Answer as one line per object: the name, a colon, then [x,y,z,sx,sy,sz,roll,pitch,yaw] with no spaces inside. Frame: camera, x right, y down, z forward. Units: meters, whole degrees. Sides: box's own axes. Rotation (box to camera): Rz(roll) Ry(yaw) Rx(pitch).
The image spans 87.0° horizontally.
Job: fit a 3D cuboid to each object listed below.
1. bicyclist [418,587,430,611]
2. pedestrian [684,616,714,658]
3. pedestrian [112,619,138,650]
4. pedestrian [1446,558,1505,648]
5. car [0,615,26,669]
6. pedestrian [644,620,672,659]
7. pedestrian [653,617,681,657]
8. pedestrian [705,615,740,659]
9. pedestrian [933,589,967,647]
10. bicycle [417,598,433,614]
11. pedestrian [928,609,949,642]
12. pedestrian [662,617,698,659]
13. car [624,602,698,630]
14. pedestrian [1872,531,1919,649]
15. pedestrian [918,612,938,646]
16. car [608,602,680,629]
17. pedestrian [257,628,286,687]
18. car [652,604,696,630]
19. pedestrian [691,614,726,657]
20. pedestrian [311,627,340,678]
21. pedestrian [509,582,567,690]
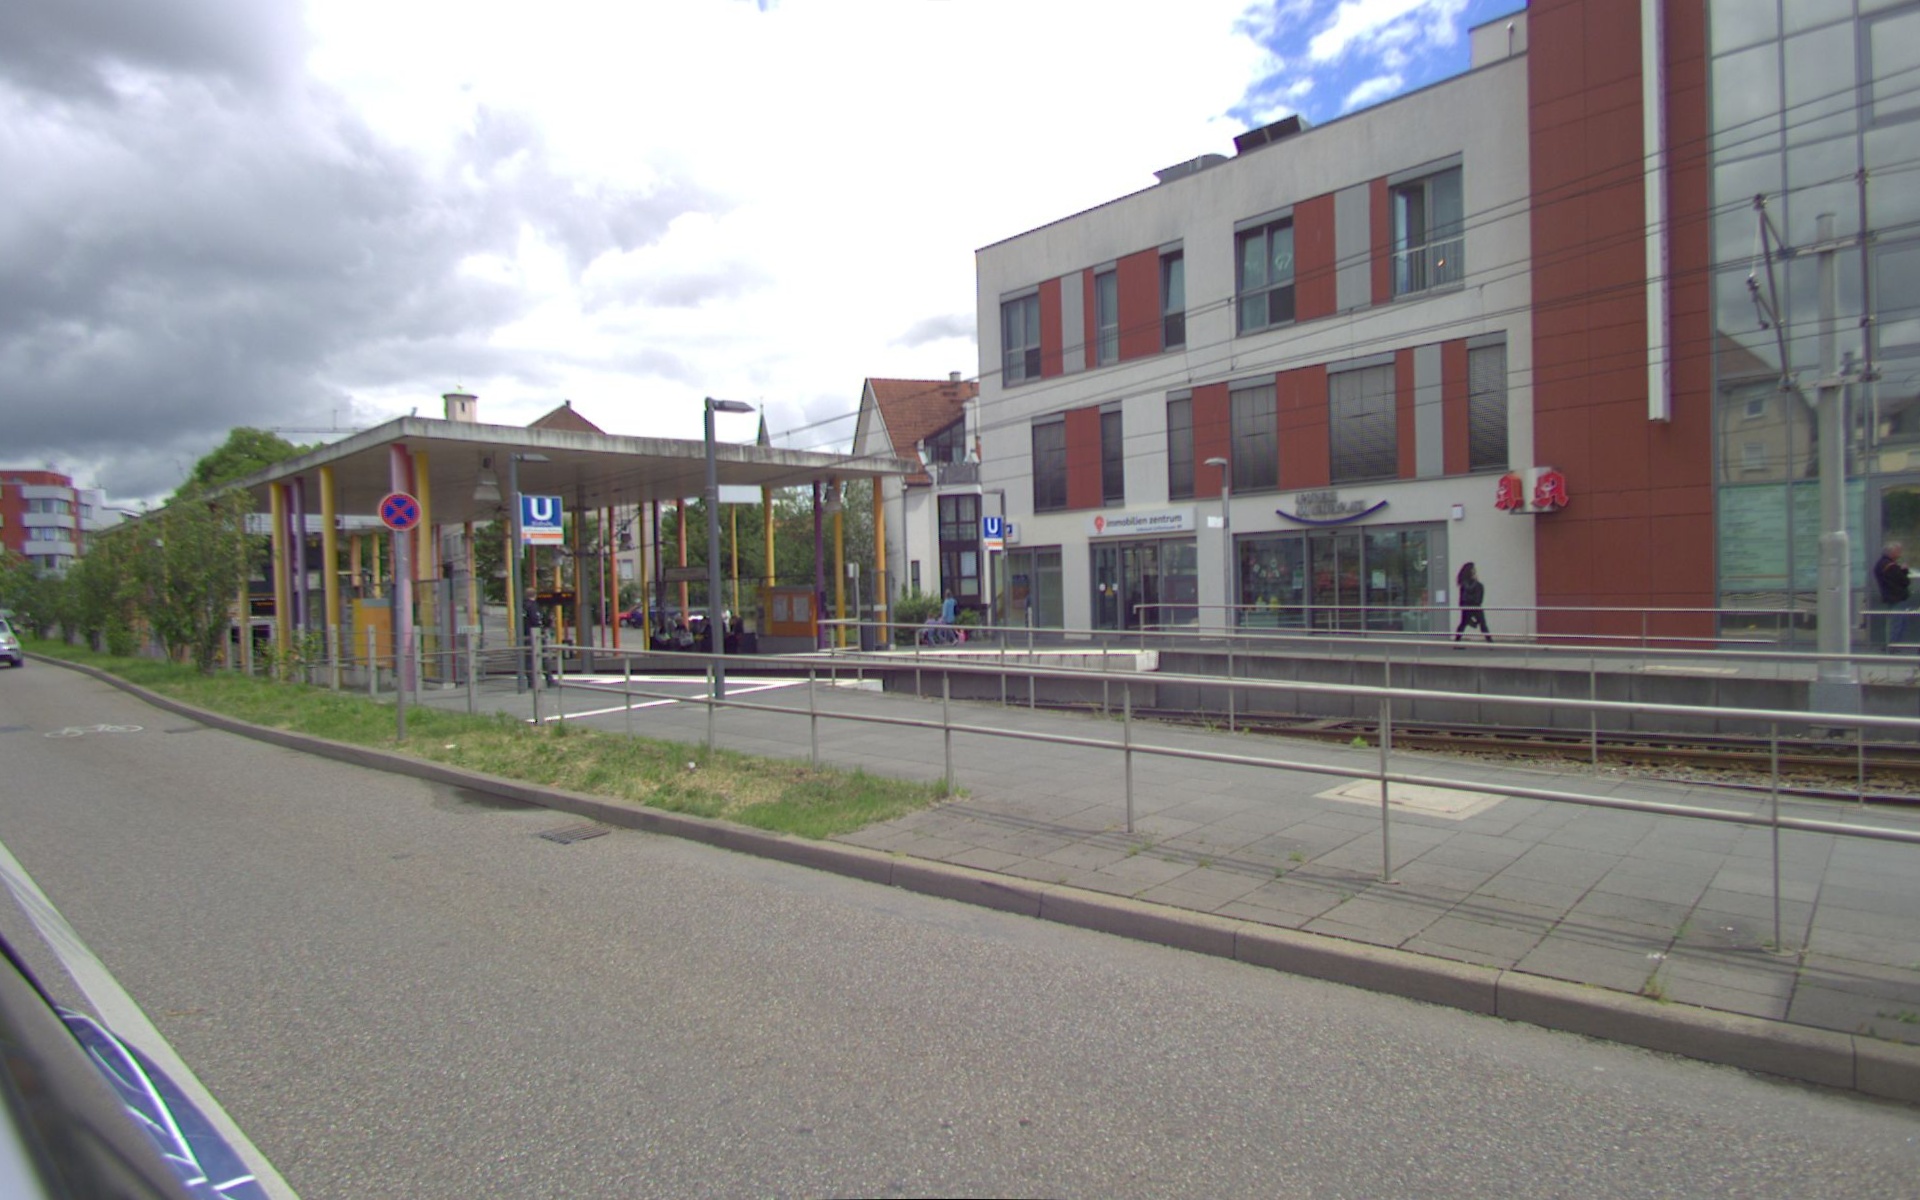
bicyclist: [-35.838,-0.074,67.693,0.478,1.605,0.682,-4,4,-43]
pedestrian: [-8.951,1.257,34.690,0.702,1.389,0.644,-3,1,45]
pedestrian: [-45.152,1.846,54.705,0.815,1.576,0.917,1,4,42]
pedestrian: [9.911,0.043,19.455,0.843,1.661,0.649,1,4,44]
car: [-29.410,1.306,30.314,4.000,1.519,1.752,-2,3,43]
pedestrian: [-11.069,1.447,37.096,0.705,1.389,0.678,-3,1,45]
pedestrian: [-10.533,1.337,36.364,0.702,1.389,0.644,-3,1,45]
pedestrian: [-7.847,1.216,33.410,0.702,1.389,0.813,-3,1,45]
pedestrian: [-0.309,0.541,31.138,0.676,1.697,0.724,-4,4,-44]
bicycle: [-35.811,0.384,67.704,0.478,0.970,1.614,-4,4,-43]
pedestrian: [-0.697,0.832,32.847,0.359,1.030,0.562,-4,4,-44]
pedestrian: [-9.792,1.329,35.394,0.702,1.389,0.916,-3,1,45]
car: [-18.023,0.943,61.024,3.932,1.411,1.575,-4,3,-31]
pedestrian: [15.287,-0.178,16.384,0.740,1.864,0.649,1,4,45]
pedestrian: [-0.971,0.873,30.663,0.359,0.997,0.492,-4,4,-44]
car: [-19.782,0.941,63.384,3.932,1.347,1.731,-4,3,-31]
pedestrian: [-22.396,1.860,32.909,0.580,1.843,0.710,-4,4,-44]
car: [-20.372,1.162,72.021,1.883,1.586,4.011,-4,3,-33]
pedestrian: [-8.463,1.200,34.100,0.702,1.389,0.813,-3,1,45]
pedestrian: [-21.085,1.737,33.634,0.636,1.626,0.622,-3,1,45]
pedestrian: [-7.628,0.640,18.272,0.770,1.858,0.738,-4,1,-30]
